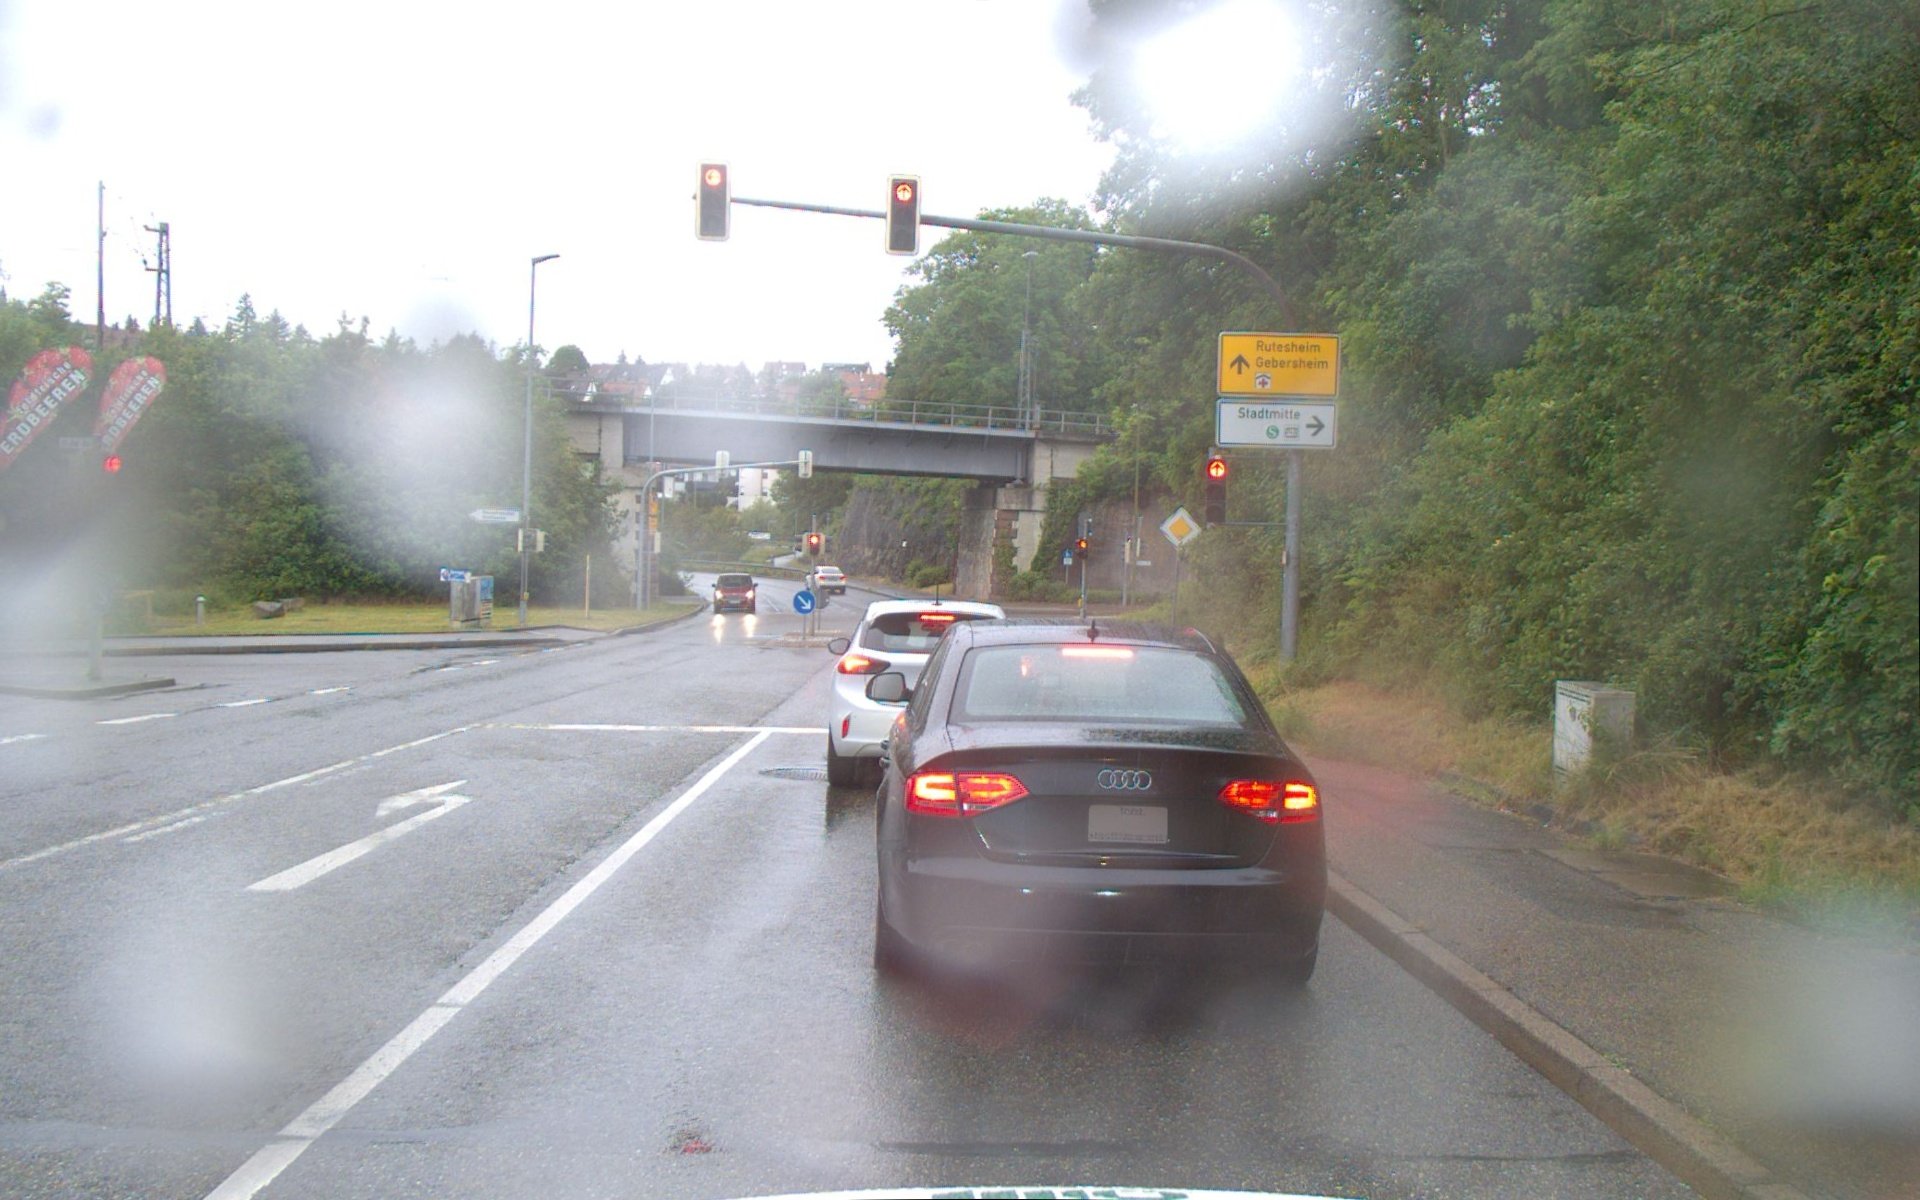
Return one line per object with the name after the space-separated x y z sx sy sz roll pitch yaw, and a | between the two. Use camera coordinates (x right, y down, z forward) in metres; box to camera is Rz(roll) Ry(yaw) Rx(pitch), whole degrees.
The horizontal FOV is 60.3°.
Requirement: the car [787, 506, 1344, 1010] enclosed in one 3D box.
0.324 0.521 7.526 1.832 1.645 3.999 1 0 -1 | car

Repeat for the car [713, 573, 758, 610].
-10.158 -0.386 74.886 1.956 1.657 3.993 0 0 -8 | car

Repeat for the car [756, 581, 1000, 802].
-0.637 0.706 14.231 1.786 1.613 3.999 1 -1 -1 | car

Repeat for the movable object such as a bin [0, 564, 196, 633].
-22.870 -0.007 41.977 2.699 1.656 5.752 0 -1 39 | movable object such as a bin

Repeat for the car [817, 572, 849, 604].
-7.527 -0.693 97.486 1.770 1.773 4.474 1 -1 -6 | car
